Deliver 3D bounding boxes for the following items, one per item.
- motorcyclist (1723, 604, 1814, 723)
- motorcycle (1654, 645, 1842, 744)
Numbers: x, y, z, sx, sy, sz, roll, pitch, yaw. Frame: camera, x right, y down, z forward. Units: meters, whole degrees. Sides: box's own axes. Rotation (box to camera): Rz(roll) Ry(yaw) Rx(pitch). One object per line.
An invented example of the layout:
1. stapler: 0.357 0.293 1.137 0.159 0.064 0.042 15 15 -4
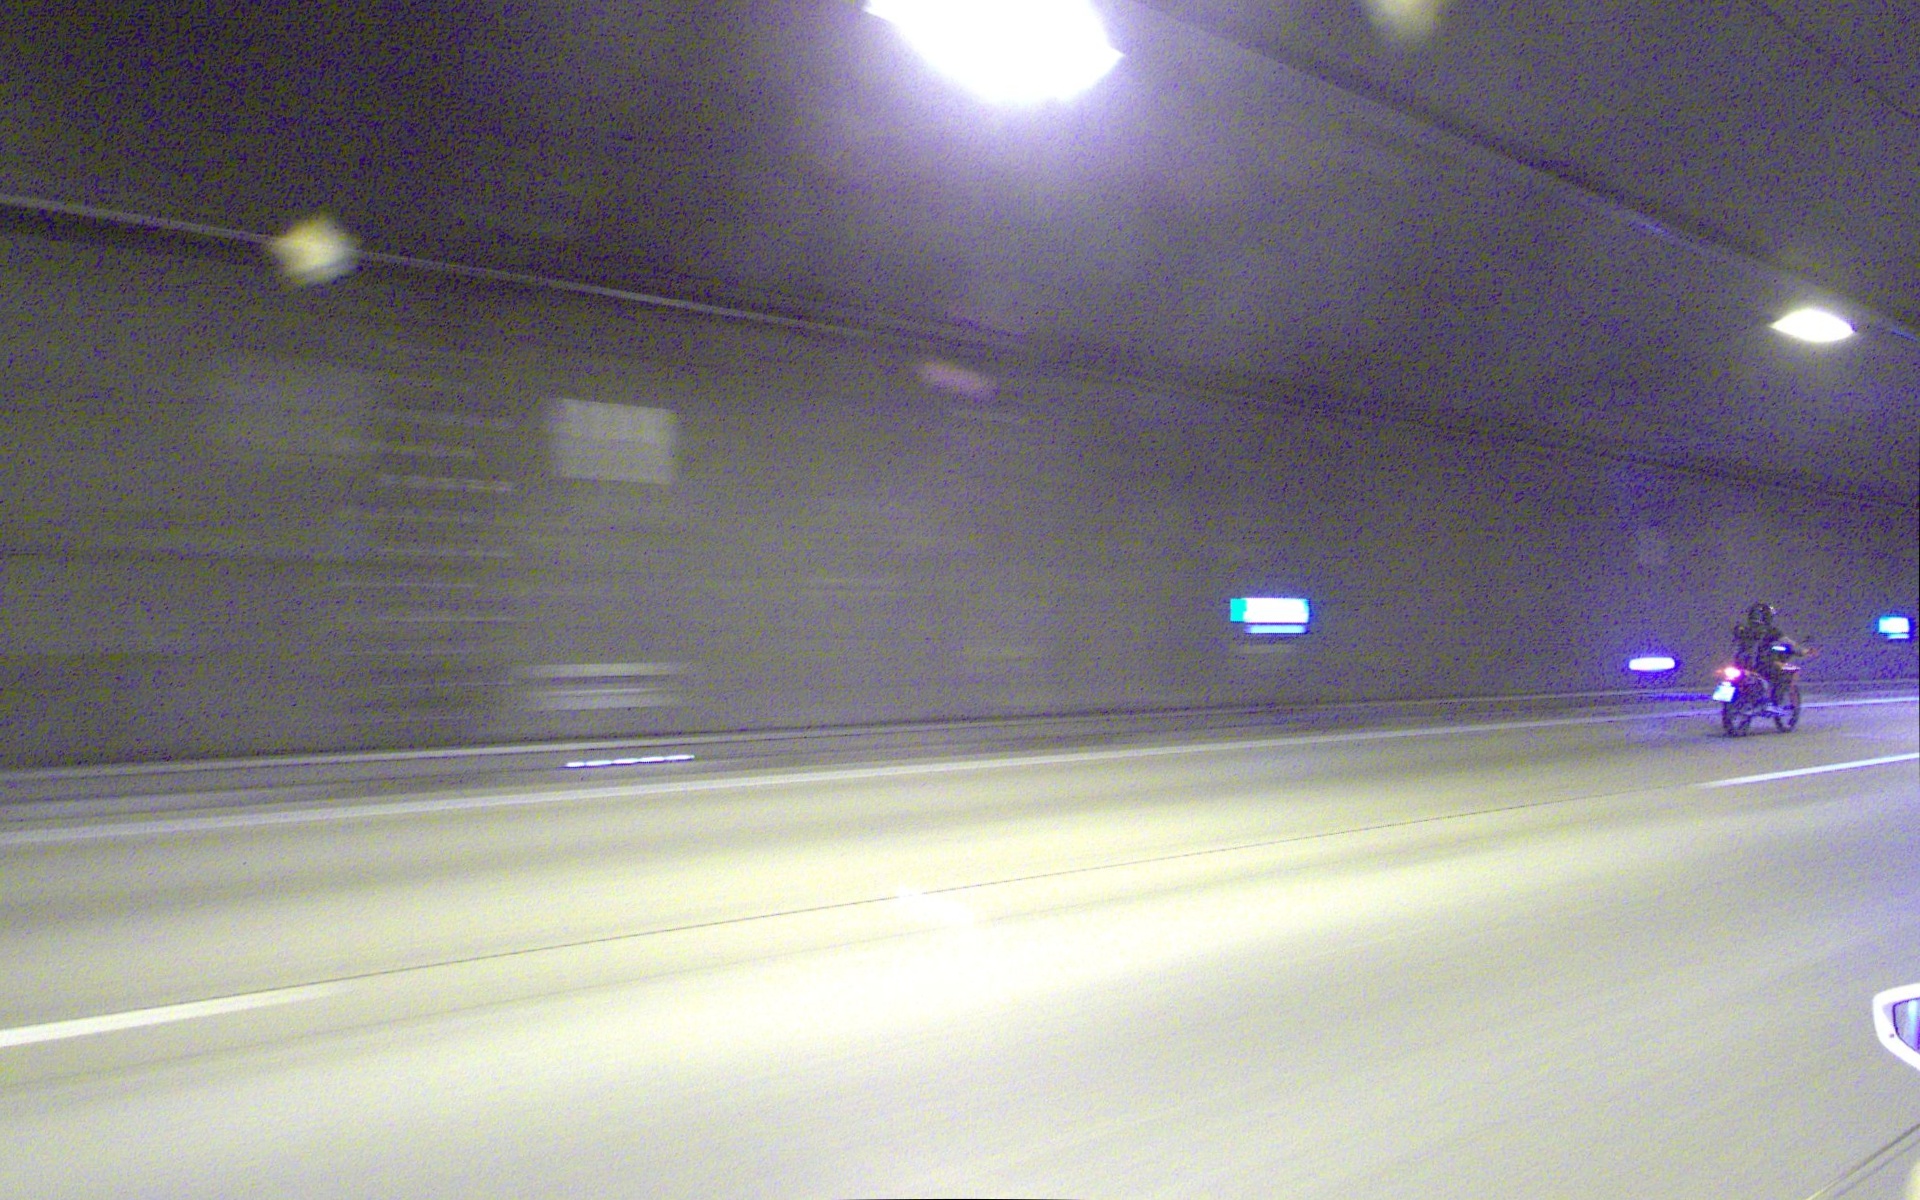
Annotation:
1. motorcyclist: 10.665 0.820 13.253 0.879 1.509 0.624 0 -1 -27
2. motorcycle: 10.392 1.198 13.242 2.396 1.173 1.049 1 -1 -27
